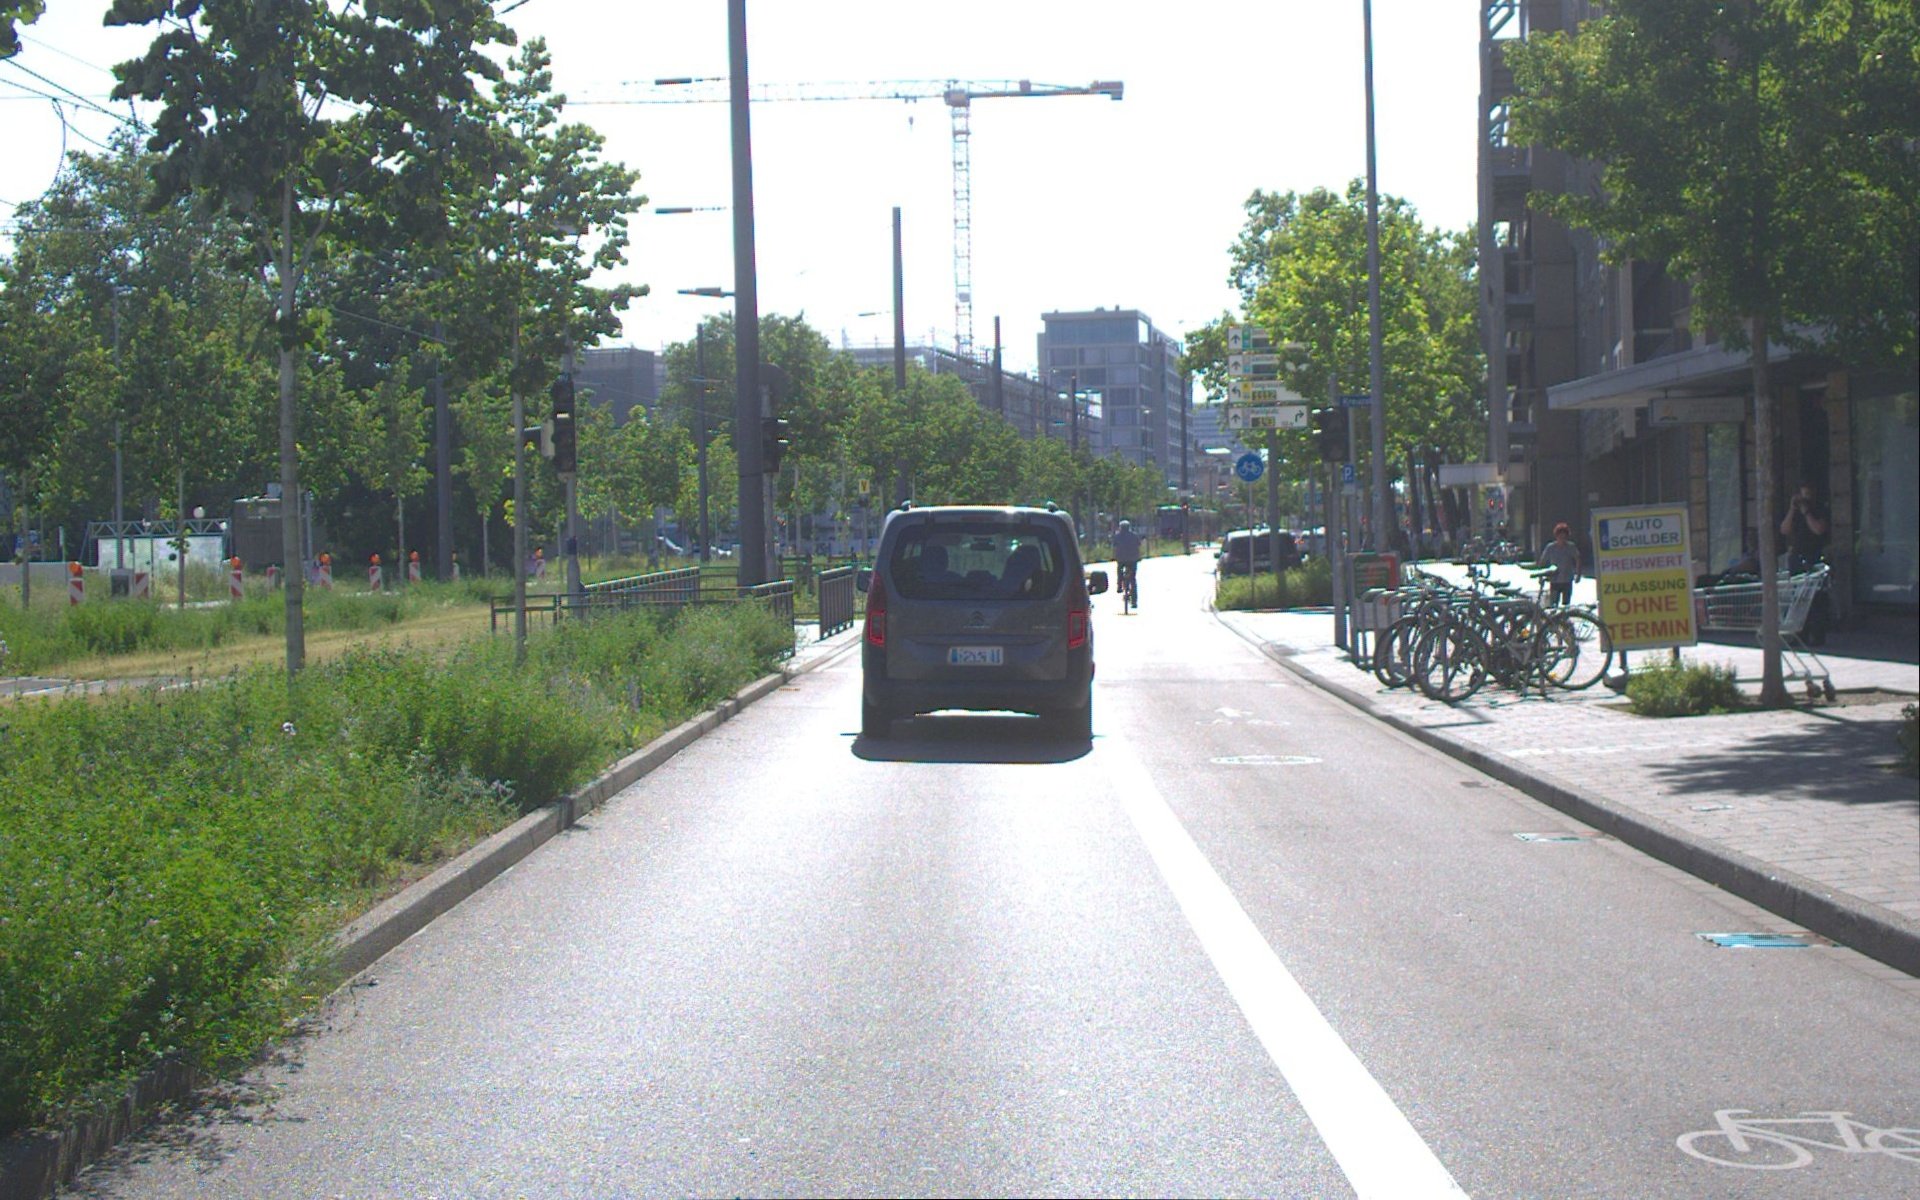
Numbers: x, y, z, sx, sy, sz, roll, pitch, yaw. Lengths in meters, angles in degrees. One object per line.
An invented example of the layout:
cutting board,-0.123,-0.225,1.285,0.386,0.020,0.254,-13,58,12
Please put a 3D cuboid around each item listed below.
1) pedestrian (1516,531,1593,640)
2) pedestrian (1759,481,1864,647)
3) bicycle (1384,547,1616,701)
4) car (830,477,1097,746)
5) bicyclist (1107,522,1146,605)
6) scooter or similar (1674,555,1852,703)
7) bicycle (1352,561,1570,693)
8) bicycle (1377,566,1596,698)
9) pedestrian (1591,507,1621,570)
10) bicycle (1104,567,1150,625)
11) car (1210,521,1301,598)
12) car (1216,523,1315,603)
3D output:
pedestrian,7.613,-0.184,44.086,0.703,1.331,1.011,-5,0,0
pedestrian,9.122,-0.384,36.839,0.844,1.736,0.886,-2,0,0
bicycle,4.753,0.205,30.275,1.878,1.229,0.500,-4,1,-6
car,-0.011,0.072,27.719,1.993,2.007,4.000,0,0,-1
bicyclist,3.207,-0.711,66.364,0.683,1.579,0.840,-1,1,-1
scooter or similar,6.398,0.223,27.438,1.220,1.102,0.783,-2,2,2
bicycle,4.851,0.252,33.328,1.915,1.117,0.665,-4,1,-6
bicycle,4.861,0.287,31.812,1.824,1.075,0.665,-4,1,-6
pedestrian,17.080,-1.635,90.887,0.700,1.647,0.724,-1,1,8
bicycle,3.218,-0.090,66.388,0.701,1.087,2.277,-1,1,-1
car,6.749,-0.911,78.782,2.021,1.716,4.118,0,0,4
car,6.408,-0.760,72.463,1.989,1.632,4.189,0,0,4
